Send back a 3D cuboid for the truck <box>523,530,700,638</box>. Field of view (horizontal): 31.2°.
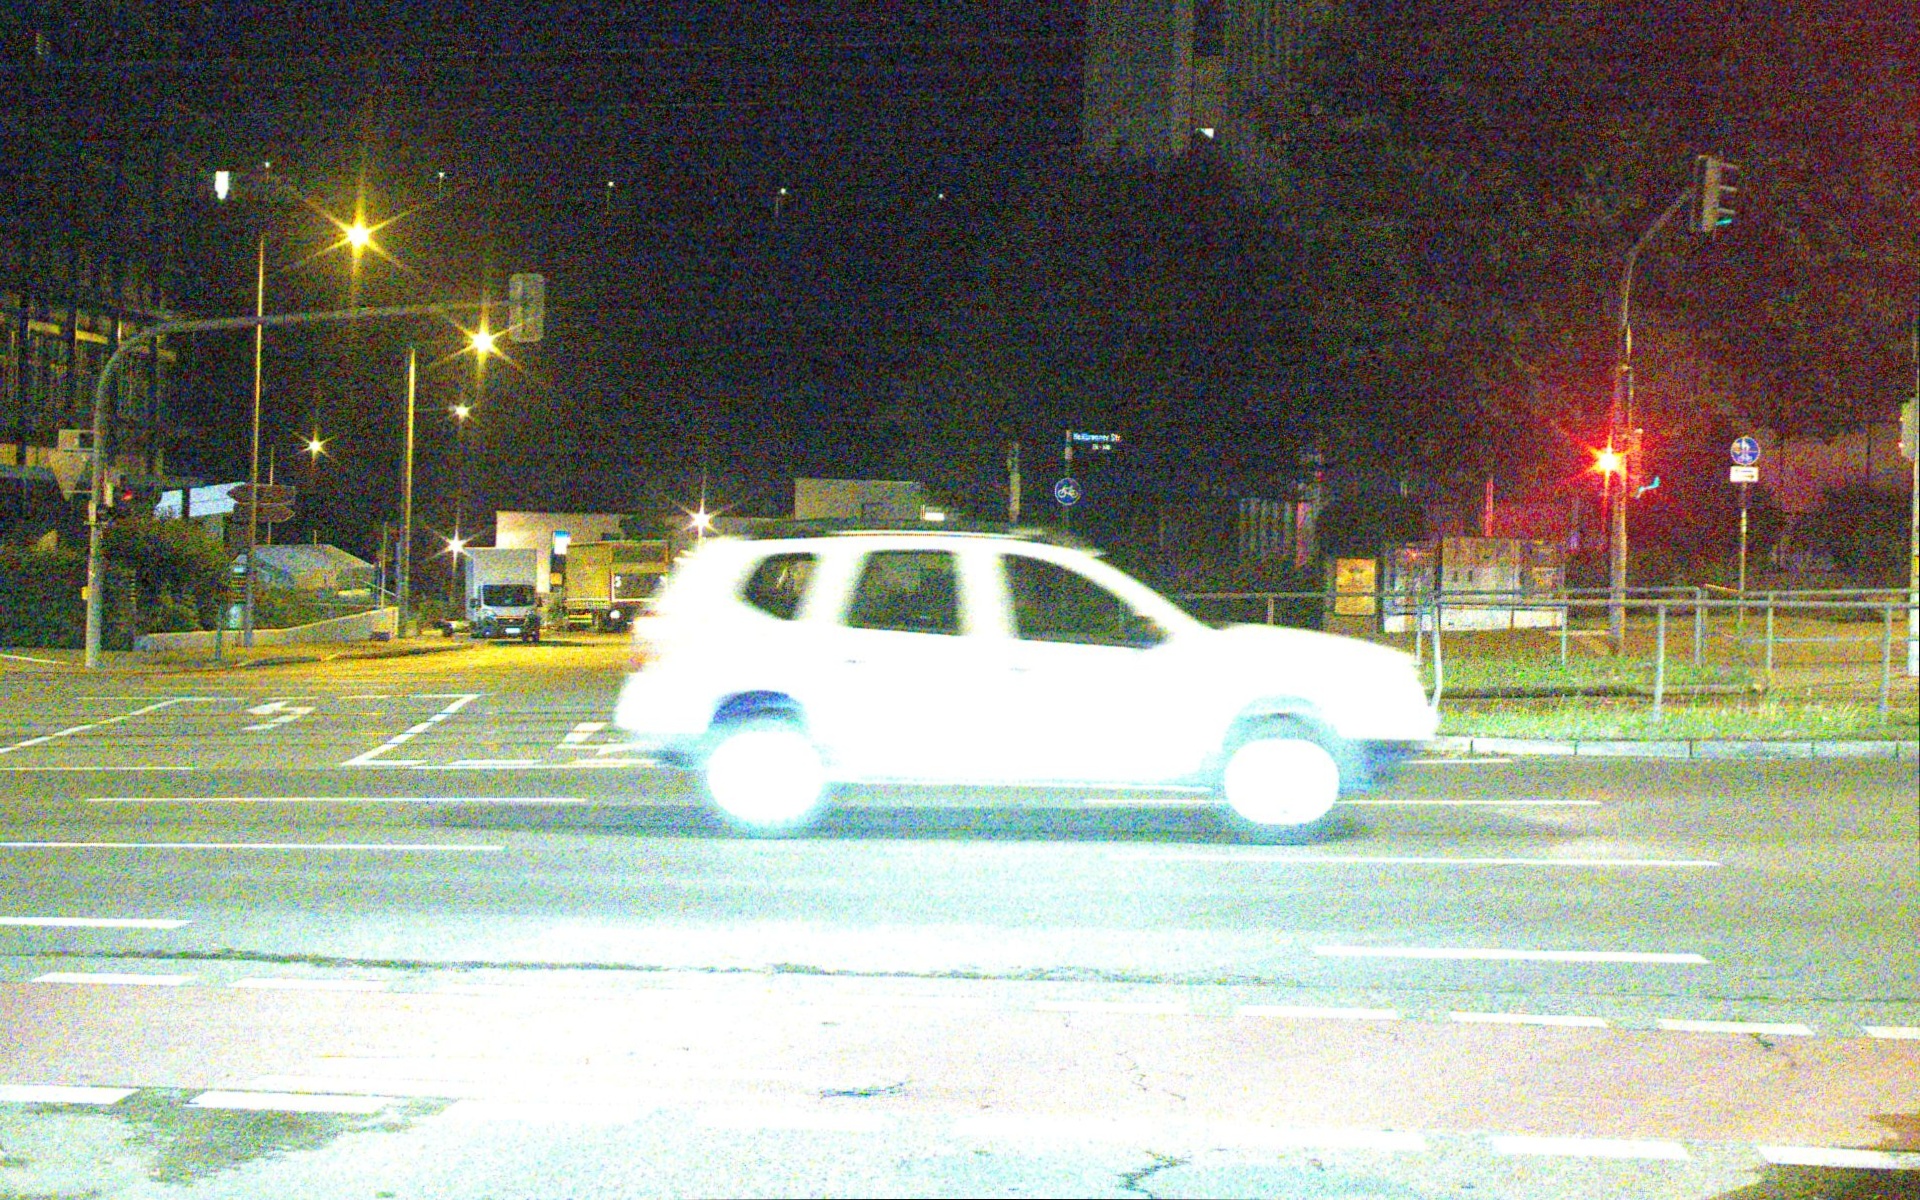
[{"bbox_3d":[-15.461,-0.747,151.225,4.821,4.531,12.669,1,1,-19],"label":"truck"}]

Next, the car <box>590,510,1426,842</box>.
[{"bbox_3d":[0.285,0.375,18.579,4.283,1.677,1.875,0,2,3],"label":"car"}]

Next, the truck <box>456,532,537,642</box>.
[{"bbox_3d":[-16.092,-0.458,119.065,2.582,3.694,5.739,1,1,-9],"label":"truck"}]
